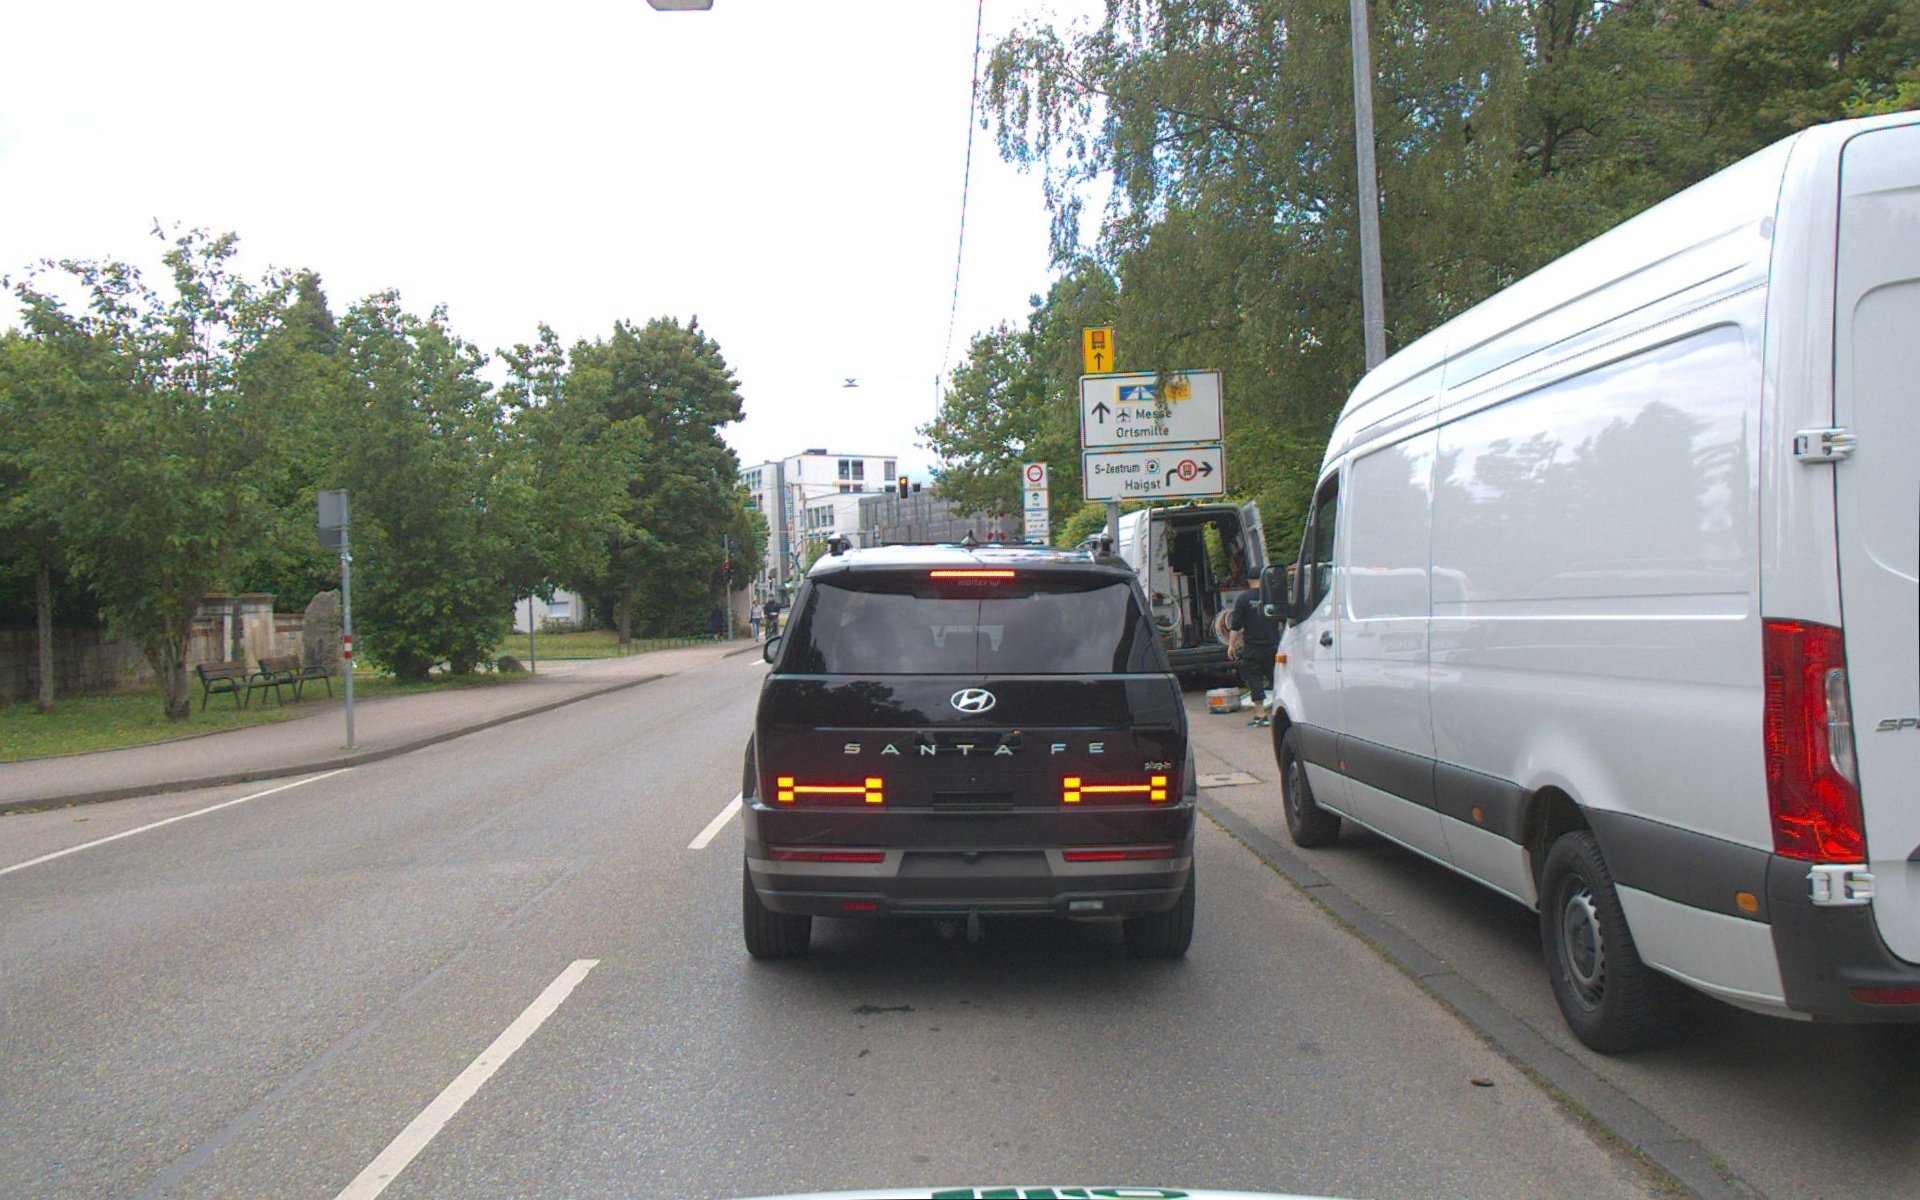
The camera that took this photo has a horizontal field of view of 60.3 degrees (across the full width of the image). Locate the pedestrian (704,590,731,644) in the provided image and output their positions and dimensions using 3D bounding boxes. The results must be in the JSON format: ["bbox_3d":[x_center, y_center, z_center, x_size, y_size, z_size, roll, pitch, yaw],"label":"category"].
[{"bbox_3d":[-9.426,0.649,64.274,0.812,2.049,1.047,1,-1,1],"label":"pedestrian"}]

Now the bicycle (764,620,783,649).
[{"bbox_3d":[-6.607,1.216,58.608,0.485,0.981,1.748,1,0,-1],"label":"bicycle"}]

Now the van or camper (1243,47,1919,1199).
[{"bbox_3d":[2.881,0.033,7.038,1.951,2.670,6.543,-5,0,-1],"label":"van or camper"}]

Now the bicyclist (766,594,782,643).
[{"bbox_3d":[-6.602,0.642,58.639,0.477,1.713,0.588,1,-1,-1],"label":"bicyclist"}]

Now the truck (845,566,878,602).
[{"bbox_3d":[-11.180,-1.754,186.940,3.048,3.926,9.607,-2,0,-7],"label":"truck"}]

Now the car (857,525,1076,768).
[{"bbox_3d":[0.031,0.412,16.332,1.858,2.077,3.993,1,0,-1],"label":"car"}]

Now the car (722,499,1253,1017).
[{"bbox_3d":[0.074,0.570,7.867,1.858,1.807,3.993,1,0,-1],"label":"car"}]

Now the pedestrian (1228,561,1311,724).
[{"bbox_3d":[3.306,0.446,17.713,0.721,1.672,0.802,-3,-1,5],"label":"pedestrian"}]

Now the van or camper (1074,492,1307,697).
[{"bbox_3d":[3.292,-0.025,25.319,2.294,2.537,6.600,-5,-1,-2],"label":"van or camper"}]

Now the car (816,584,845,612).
[{"bbox_3d":[-11.317,-0.156,144.019,2.288,2.356,4.950,-2,0,-7],"label":"car"}]

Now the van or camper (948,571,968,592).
[{"bbox_3d":[-0.191,-1.902,172.507,1.760,2.033,3.820,1,0,-4],"label":"van or camper"}]

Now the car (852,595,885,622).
[{"bbox_3d":[-5.390,0.488,97.752,1.721,1.427,4.413,-4,0,-1],"label":"car"}]

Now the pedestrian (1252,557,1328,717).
[{"bbox_3d":[3.719,0.409,18.690,0.734,1.751,0.792,1,-1,5],"label":"pedestrian"}]

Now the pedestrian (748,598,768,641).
[{"bbox_3d":[-8.404,0.793,68.871,0.751,1.779,0.904,0,0,-3],"label":"pedestrian"}]
